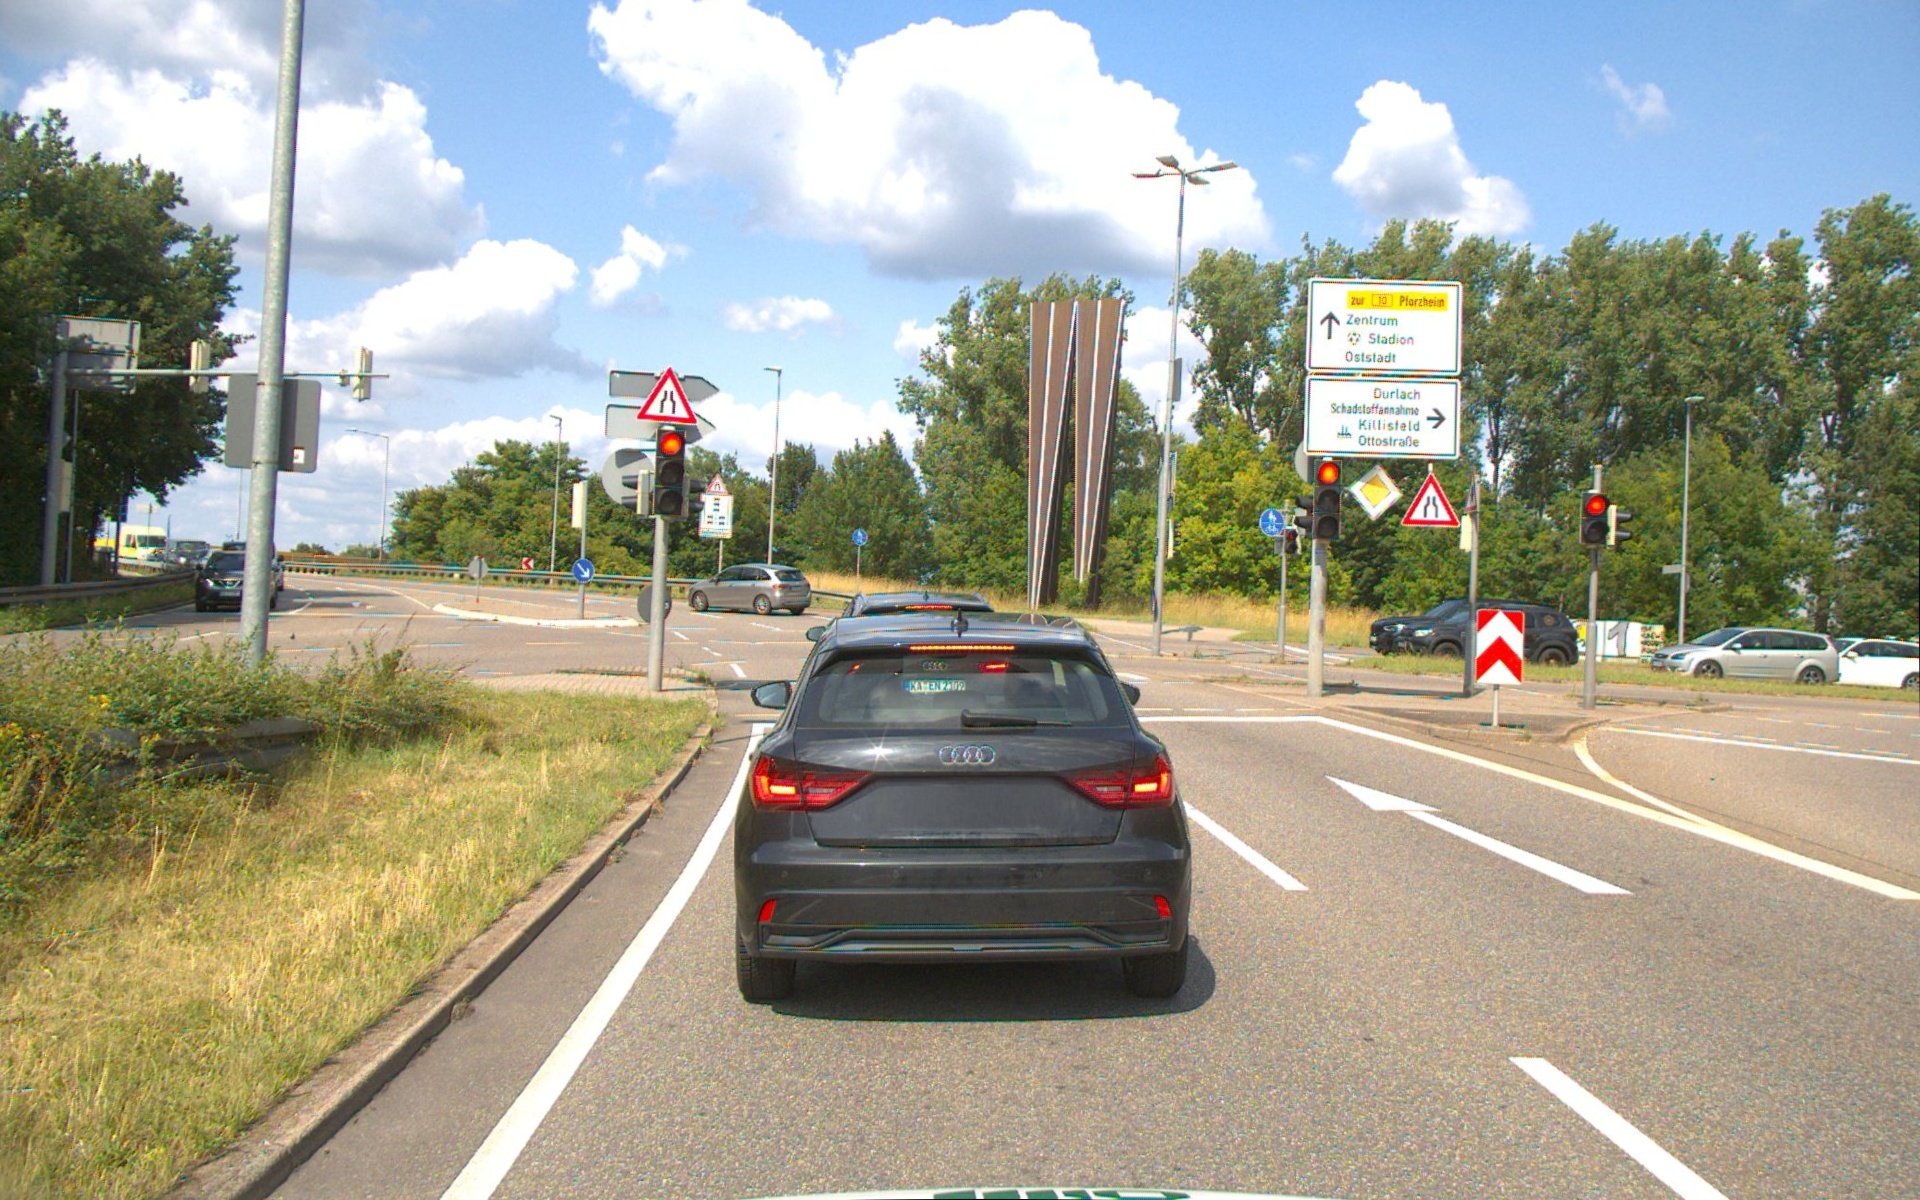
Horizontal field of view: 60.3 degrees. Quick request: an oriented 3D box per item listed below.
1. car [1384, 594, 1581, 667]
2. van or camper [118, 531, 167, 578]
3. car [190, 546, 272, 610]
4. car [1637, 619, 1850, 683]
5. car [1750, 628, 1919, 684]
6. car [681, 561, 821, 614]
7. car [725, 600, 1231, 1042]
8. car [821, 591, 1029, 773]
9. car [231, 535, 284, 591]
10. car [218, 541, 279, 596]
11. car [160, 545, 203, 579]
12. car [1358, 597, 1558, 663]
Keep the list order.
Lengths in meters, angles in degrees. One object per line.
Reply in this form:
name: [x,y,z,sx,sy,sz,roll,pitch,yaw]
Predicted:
car: [12.602,0.722,40.062,4.182,1.572,1.736,2,0,-2]
van or camper: [-50.377,-2.775,101.838,1.974,2.730,6.788,2,0,-32]
car: [-19.888,-0.562,45.252,1.813,1.646,3.974,2,-1,-21]
car: [19.064,1.228,40.339,4.384,1.343,1.735,2,0,-4]
car: [23.837,1.505,44.449,4.404,1.304,1.736,2,0,-4]
car: [-6.634,-0.399,52.521,4.031,1.522,1.995,2,0,31]
car: [0.033,0.736,7.528,1.691,1.429,3.999,0,1,-1]
car: [-0.439,0.652,15.321,1.692,1.448,3.841,0,1,-5]
car: [-28.222,-1.484,66.396,1.819,2.137,4.293,2,0,-24]
car: [-25.377,-1.136,59.095,1.817,1.833,4.299,2,0,-22]
car: [-42.142,-2.076,89.494,1.823,1.735,4.286,2,0,-29]
car: [13.185,0.781,43.924,4.750,1.572,1.736,2,0,-2]
